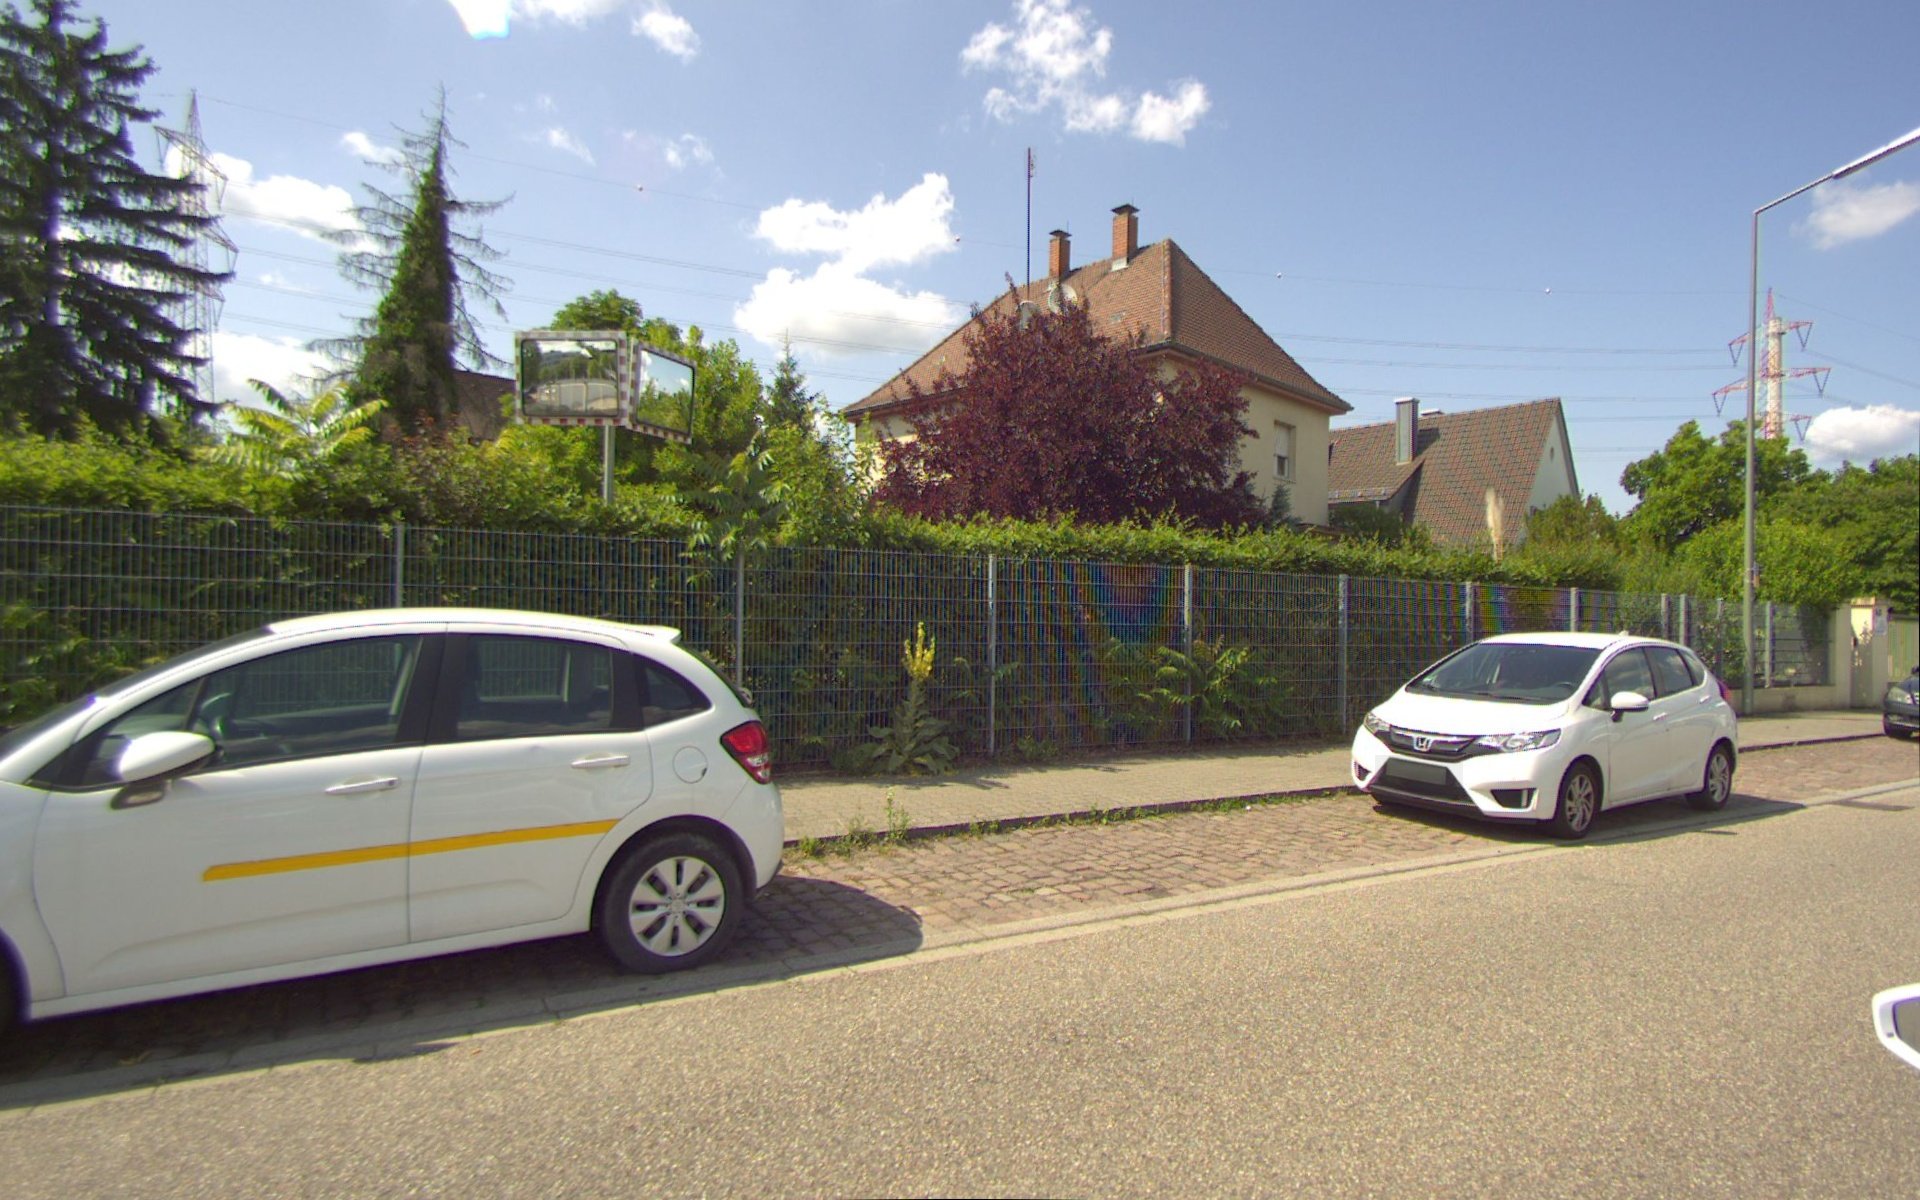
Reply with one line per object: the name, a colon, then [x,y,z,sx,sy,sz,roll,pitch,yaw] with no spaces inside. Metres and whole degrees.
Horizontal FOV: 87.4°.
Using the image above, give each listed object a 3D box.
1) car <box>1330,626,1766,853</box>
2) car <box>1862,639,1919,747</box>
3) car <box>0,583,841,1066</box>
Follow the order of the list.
car: [5.244,1.054,8.789,4.131,1.542,1.611,2,-1,-33]
car: [15.233,1.376,14.690,4.445,1.437,1.796,2,1,-31]
car: [-2.676,0.733,4.244,3.983,1.496,1.637,3,-1,-31]
